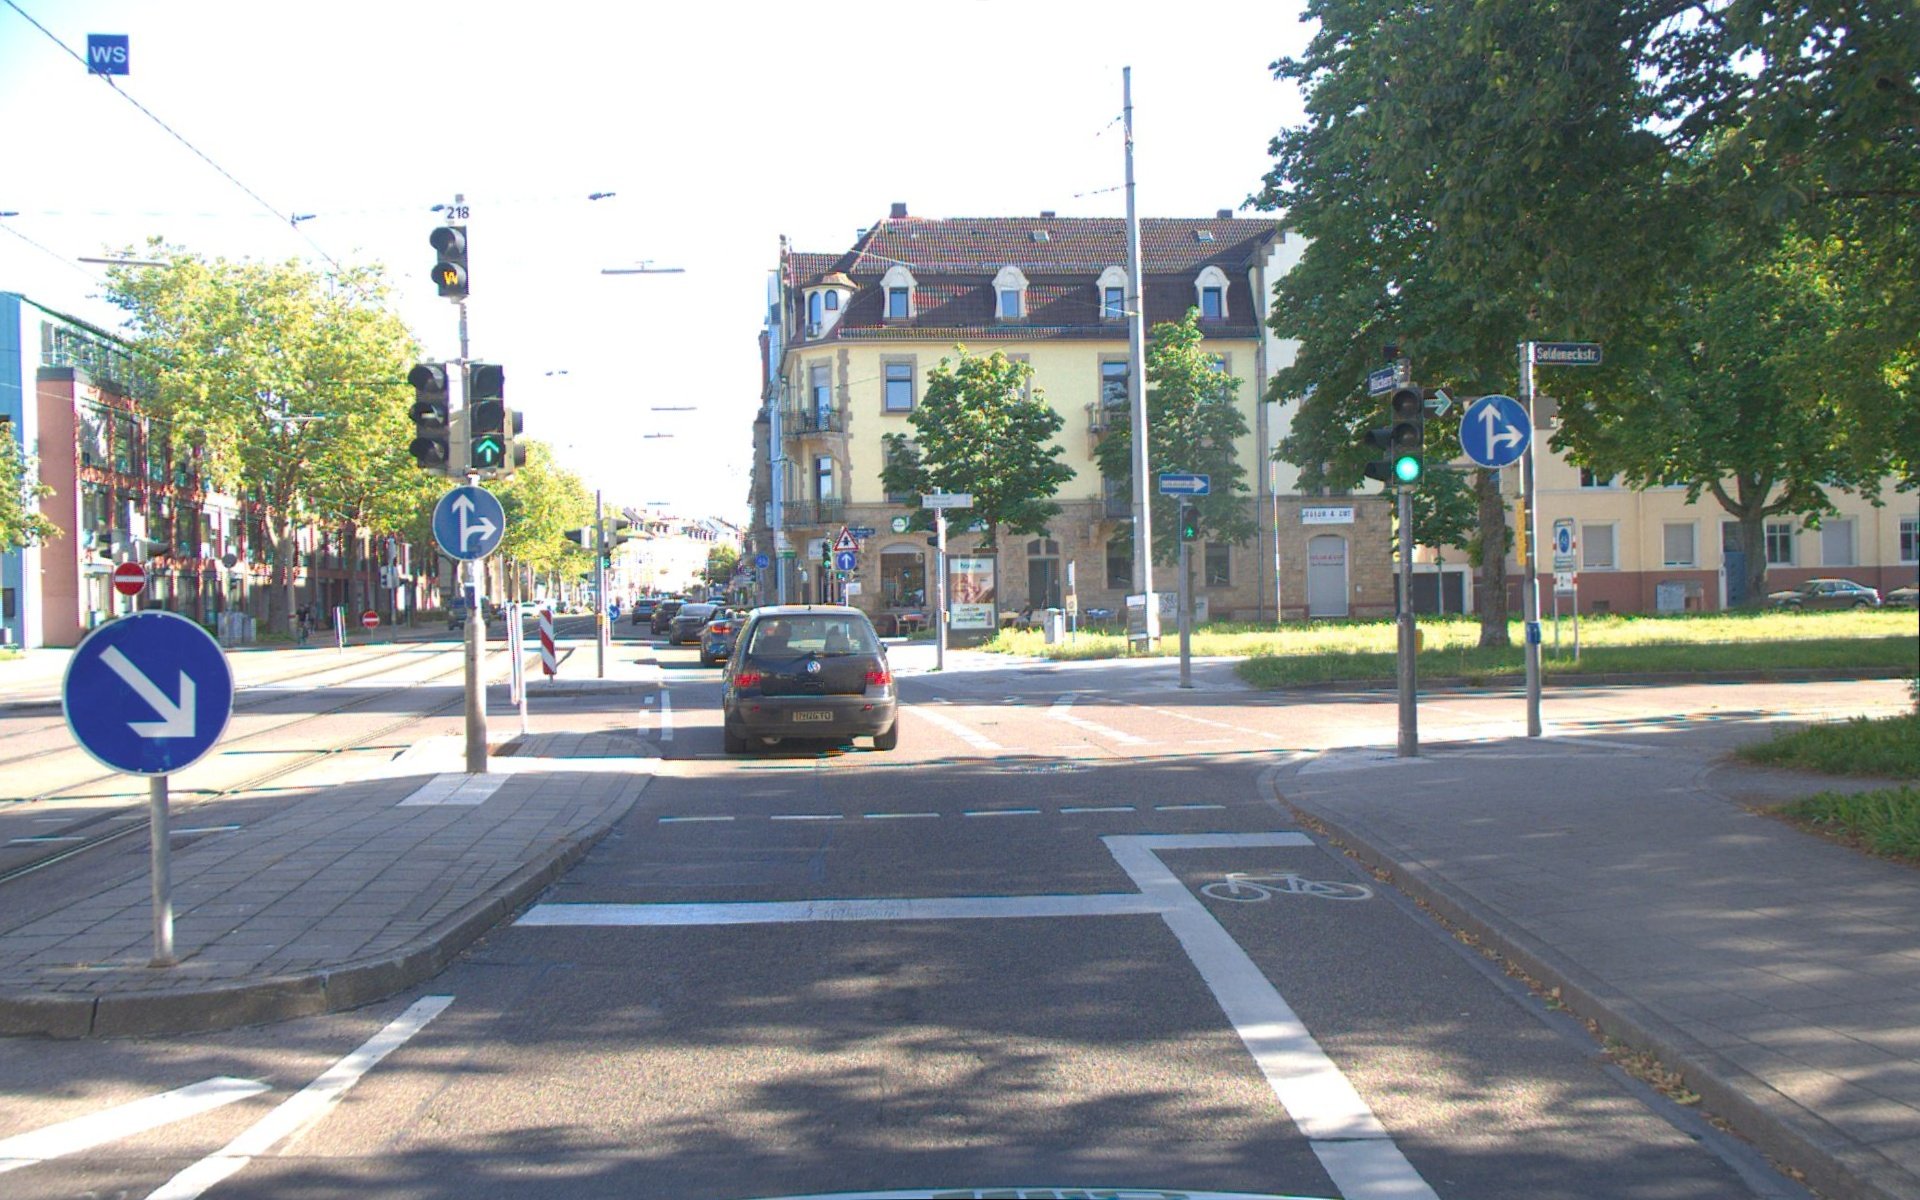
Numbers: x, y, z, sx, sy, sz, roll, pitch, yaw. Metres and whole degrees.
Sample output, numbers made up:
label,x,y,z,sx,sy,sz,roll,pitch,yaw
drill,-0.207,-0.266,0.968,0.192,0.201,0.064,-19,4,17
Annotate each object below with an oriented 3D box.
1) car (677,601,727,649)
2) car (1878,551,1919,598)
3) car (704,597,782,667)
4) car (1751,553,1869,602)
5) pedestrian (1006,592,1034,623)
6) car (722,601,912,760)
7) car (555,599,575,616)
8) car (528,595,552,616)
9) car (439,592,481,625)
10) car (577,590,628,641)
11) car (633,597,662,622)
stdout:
label,x,y,z,sx,sy,sz,roll,pitch,yaw
car,-8.717,0.825,55.642,1.541,1.334,3.639,-2,3,-10
car,39.452,-1.053,66.777,3.880,1.847,1.758,-2,0,-6
car,-4.839,0.671,36.924,1.604,1.396,3.751,-2,1,-7
car,34.159,-0.893,66.543,3.880,1.847,1.758,-2,0,-6
pedestrian,2.359,0.296,65.232,0.961,1.208,0.742,-1,0,-9
car,-1.584,0.733,17.109,1.684,1.427,3.998,0,0,-9
car,-48.750,0.940,204.168,1.957,2.049,3.991,-1,-1,-9
car,-43.099,0.548,169.790,1.957,2.049,3.991,-1,-1,-9
car,-29.117,0.468,96.332,1.937,1.847,4.283,-2,0,-12
car,-13.970,0.563,64.762,1.754,1.892,3.991,-1,0,-10
car,-19.602,0.594,103.779,1.650,1.479,3.371,-2,0,-10
